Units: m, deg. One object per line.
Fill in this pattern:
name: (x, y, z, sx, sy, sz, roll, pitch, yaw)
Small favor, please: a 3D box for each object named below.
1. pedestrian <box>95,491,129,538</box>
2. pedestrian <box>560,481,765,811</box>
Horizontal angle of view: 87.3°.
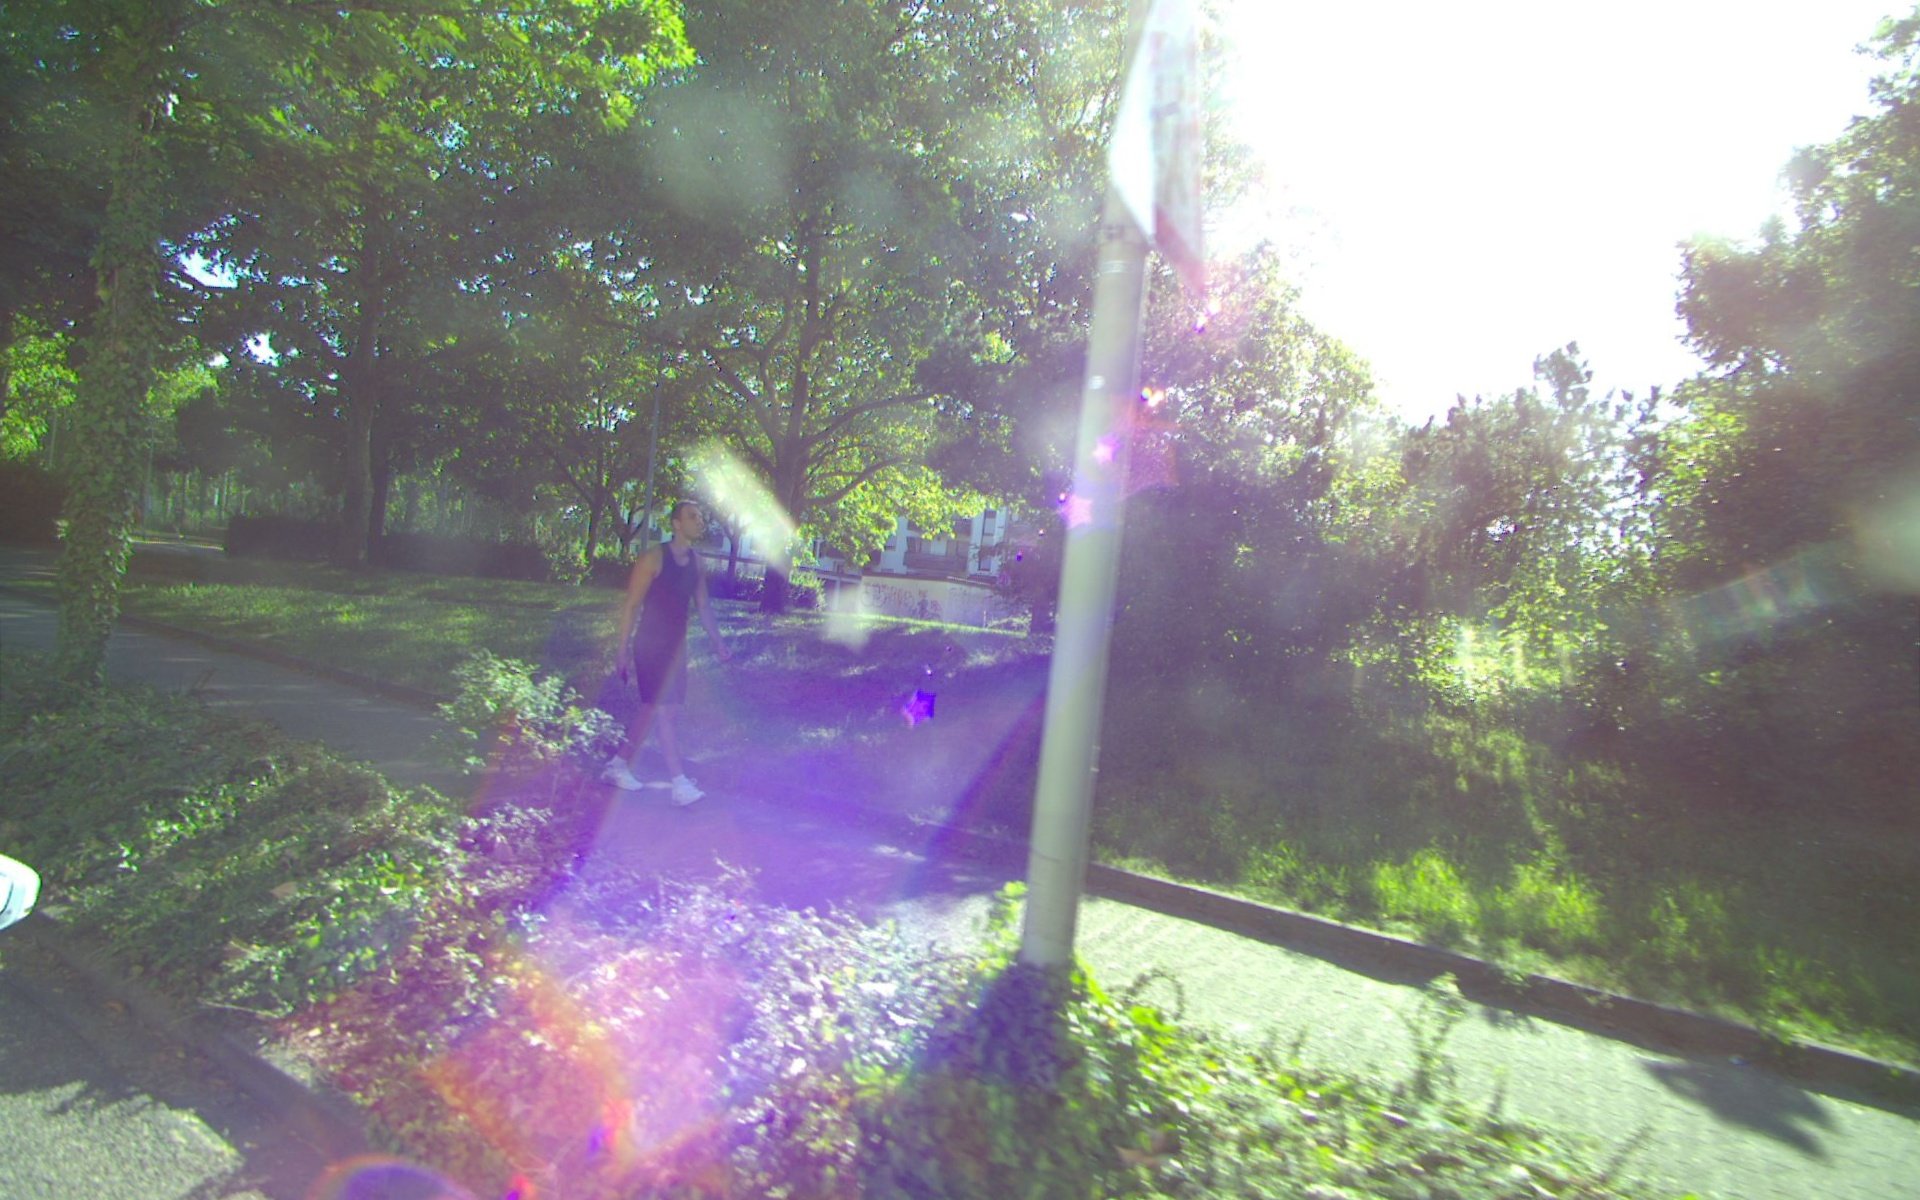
pedestrian: (-32.207, -3.239, 38.227, 0.692, 1.629, 0.695, 8, -1, -29)
pedestrian: (-1.818, 0.271, 6.204, 0.660, 1.854, 0.792, 7, 0, 30)
